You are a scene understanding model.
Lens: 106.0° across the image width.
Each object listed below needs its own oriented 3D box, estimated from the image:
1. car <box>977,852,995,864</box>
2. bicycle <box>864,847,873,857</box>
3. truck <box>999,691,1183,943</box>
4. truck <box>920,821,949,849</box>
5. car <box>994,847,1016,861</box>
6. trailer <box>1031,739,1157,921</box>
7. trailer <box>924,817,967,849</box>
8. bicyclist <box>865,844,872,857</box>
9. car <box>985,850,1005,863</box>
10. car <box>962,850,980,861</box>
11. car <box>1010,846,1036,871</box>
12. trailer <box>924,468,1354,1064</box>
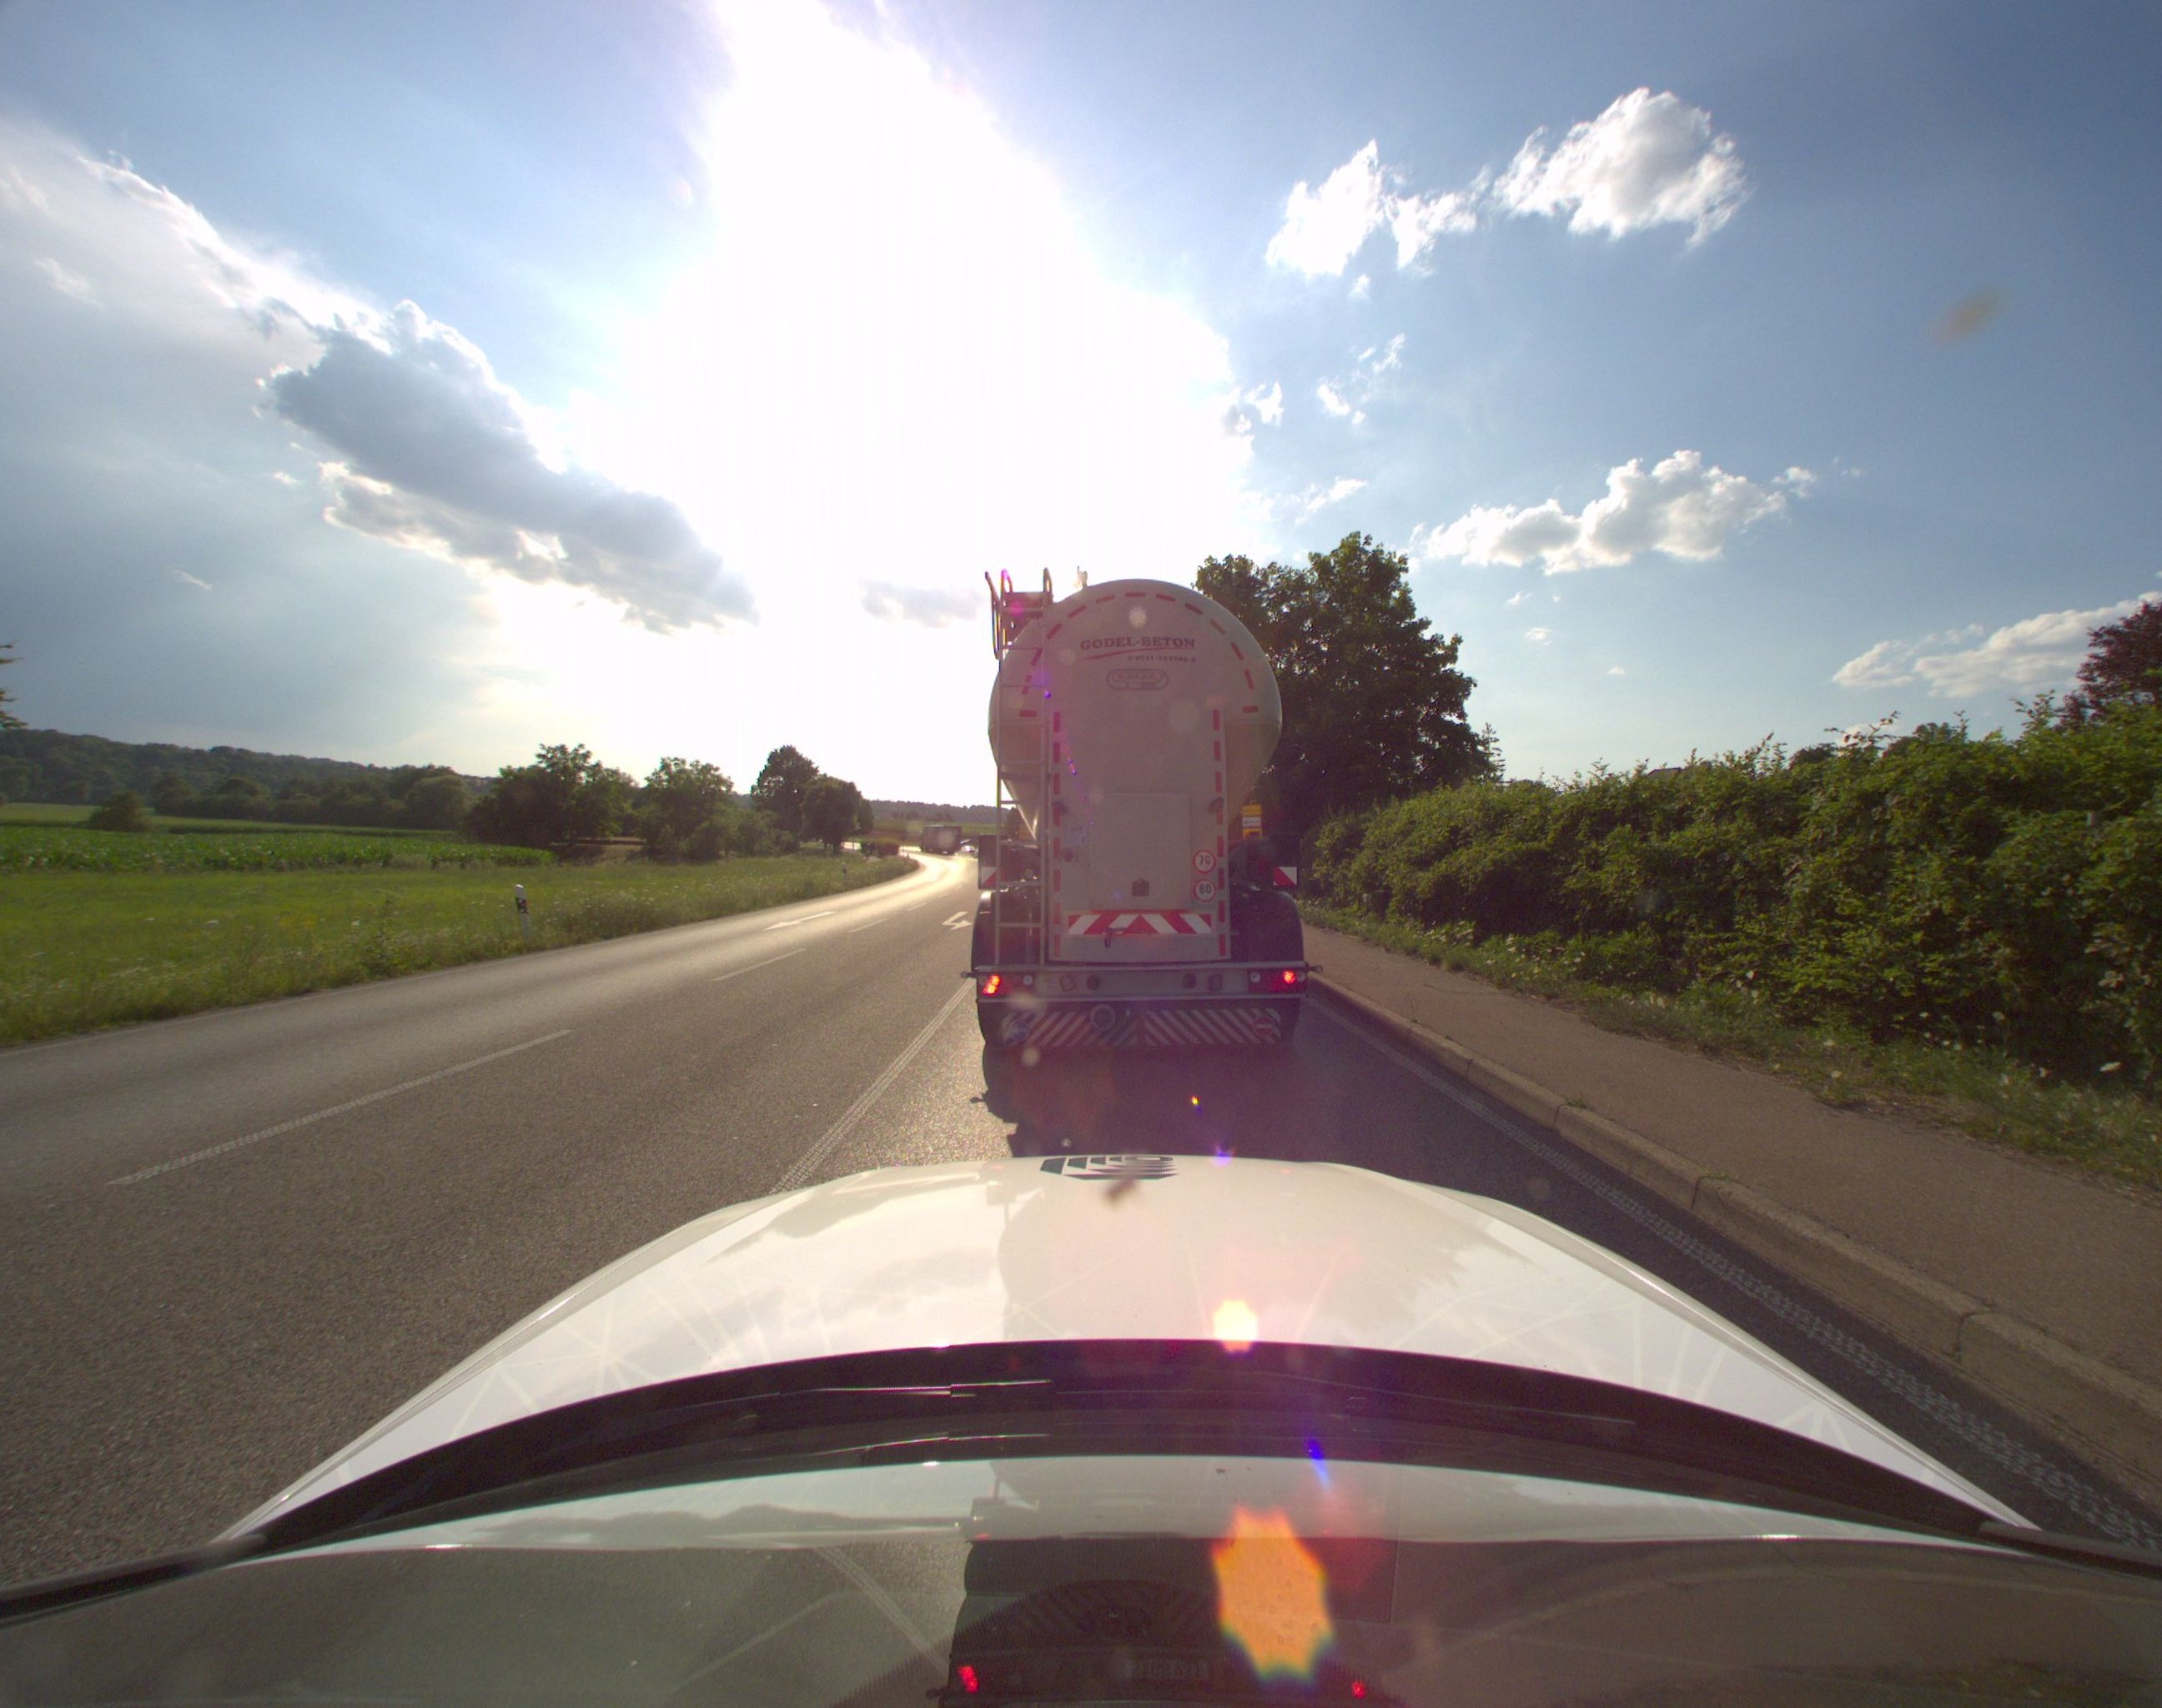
[{"bbox_3d":[-11.285,0.428,96.273,1.583,1.341,3.407,1,0,-16],"label":"car"},{"bbox_3d":[-23.794,-0.191,91.210,0.634,1.074,1.667,2,0,-6],"label":"bicycle"},{"bbox_3d":[0.098,-0.606,15.030,2.902,4.006,4.056,0,0,-2],"label":"truck"},{"bbox_3d":[-23.078,-2.950,127.872,3.388,4.350,5.665,1,0,-21],"label":"truck"},{"bbox_3d":[-7.671,-0.025,81.877,1.583,1.341,3.407,1,0,-16],"label":"car"},{"bbox_3d":[0.560,-0.592,26.530,2.943,4.315,14.182,1,0,2],"label":"trailer"},{"bbox_3d":[-20.169,-2.935,120.336,3.388,4.350,14.192,1,0,-21],"label":"trailer"},{"bbox_3d":[-23.781,-0.391,91.142,0.634,1.419,0.689,2,0,-7],"label":"bicyclist"},{"bbox_3d":[-9.283,0.261,88.052,1.583,1.341,3.407,1,0,-16],"label":"car"},{"bbox_3d":[-13.881,0.153,102.677,1.773,1.205,3.407,-6,2,-16],"label":"car"},{"bbox_3d":[-4.819,0.338,67.442,1.861,2.013,3.708,0,0,-9],"label":"car"},{"bbox_3d":[0.254,-0.604,10.498,2.902,4.006,9.922,0,0,-2],"label":"trailer"}]
